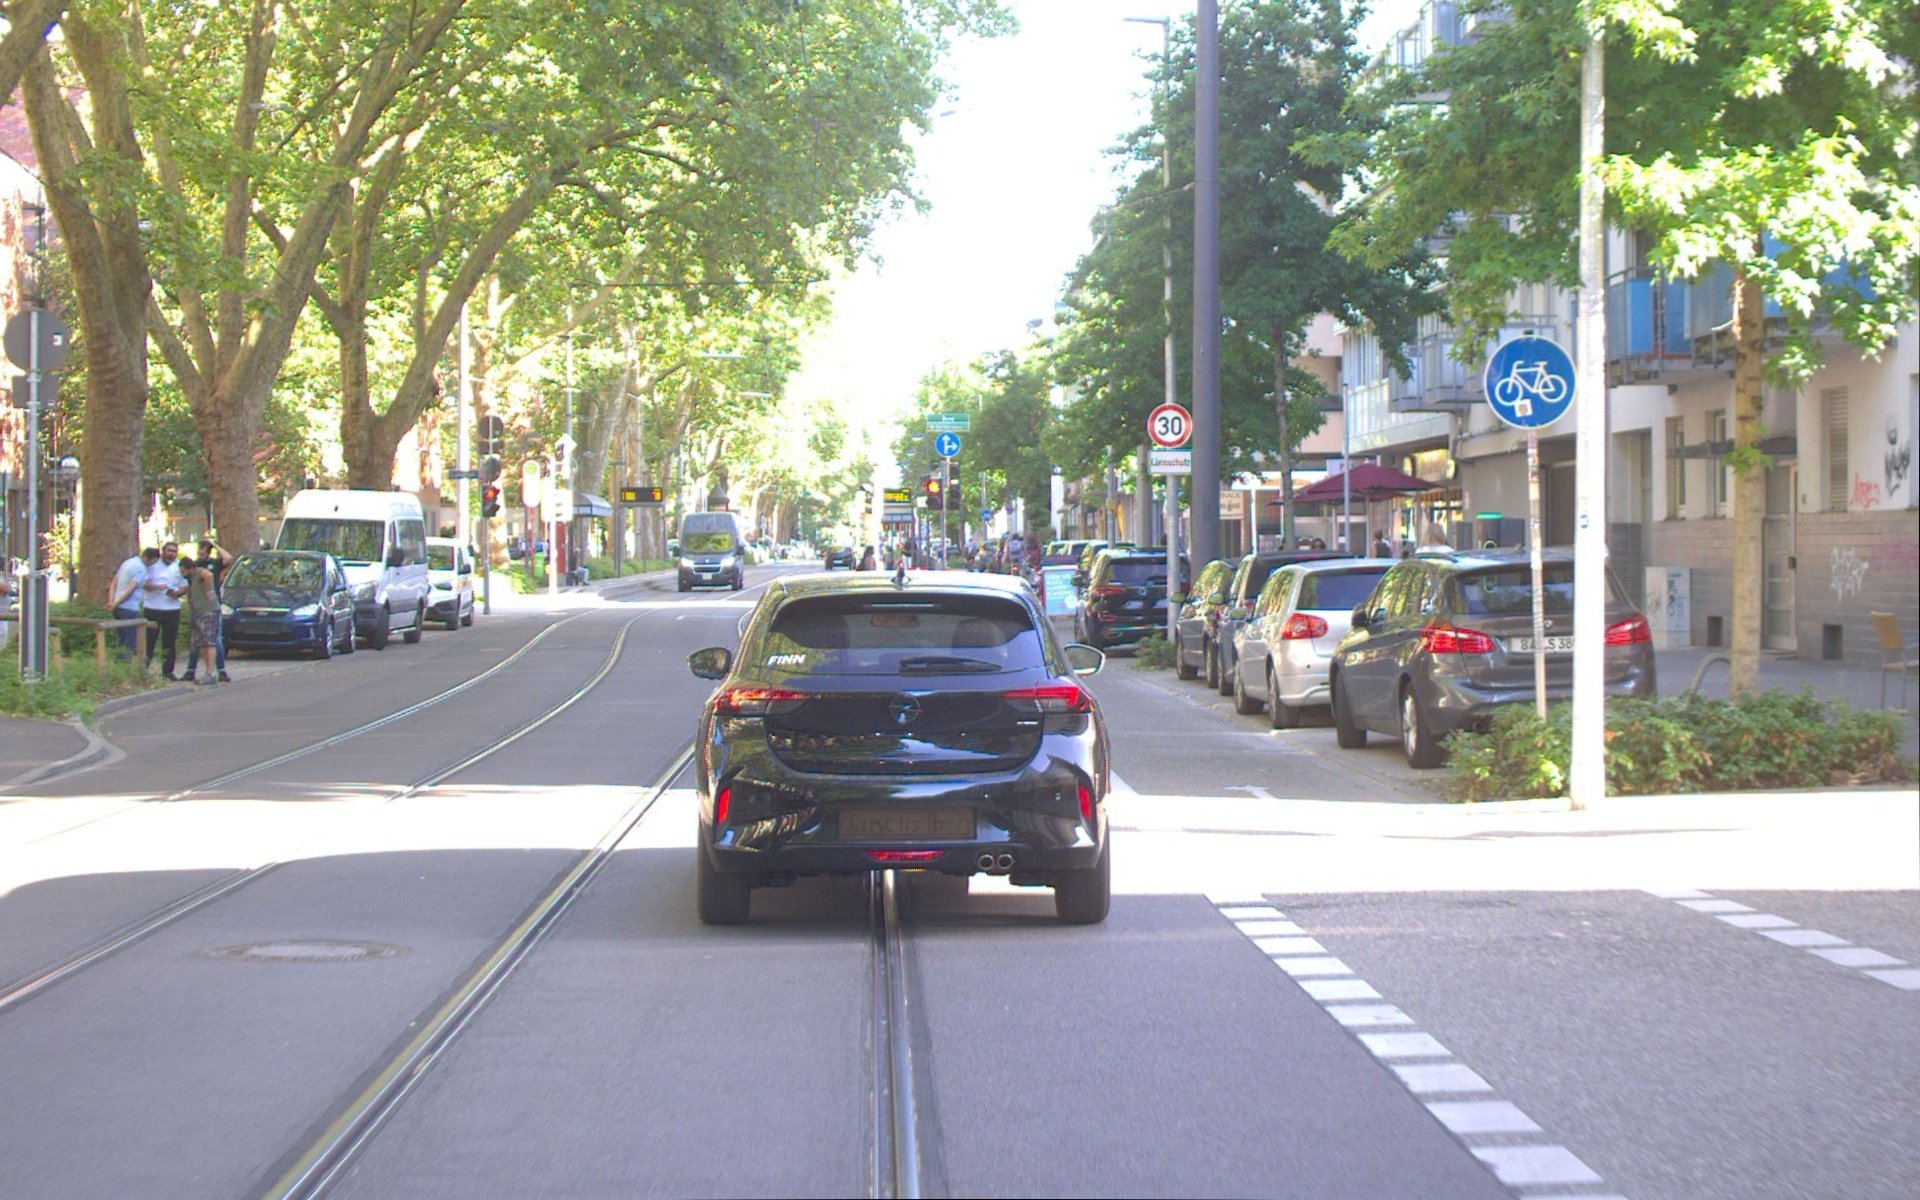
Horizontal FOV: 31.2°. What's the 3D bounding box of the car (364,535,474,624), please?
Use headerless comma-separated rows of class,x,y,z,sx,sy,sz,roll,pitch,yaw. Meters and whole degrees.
car,-10.715,-0.435,68.294,1.993,1.711,4.001,0,1,-7

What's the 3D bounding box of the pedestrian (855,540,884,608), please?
pedestrian,-2.154,-0.622,81.731,0.594,1.584,0.893,-1,1,-8

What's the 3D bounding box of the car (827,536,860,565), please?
car,-6.876,-2.936,203.258,1.750,1.646,4.000,0,1,0

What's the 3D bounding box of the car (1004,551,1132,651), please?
car,1.805,-0.017,58.560,1.993,1.634,4.000,0,1,-1

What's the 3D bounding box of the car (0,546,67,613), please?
car,-25.455,-0.534,89.624,3.986,1.700,2.001,0,1,-7

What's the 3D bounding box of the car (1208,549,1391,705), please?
car,3.556,0.253,36.407,1.651,1.568,3.083,0,1,0

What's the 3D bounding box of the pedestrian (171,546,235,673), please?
pedestrian,-9.450,0.117,42.936,0.683,1.577,0.557,0,1,-3

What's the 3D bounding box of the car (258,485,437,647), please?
car,-10.262,-0.603,58.062,2.092,2.575,5.997,0,1,-2

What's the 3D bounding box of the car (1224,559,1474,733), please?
car,3.526,0.379,31.741,1.718,1.485,3.682,0,1,-3

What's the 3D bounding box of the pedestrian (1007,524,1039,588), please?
pedestrian,2.041,-1.433,112.234,0.856,2.007,1.069,-5,0,-1

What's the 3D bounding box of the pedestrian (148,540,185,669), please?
pedestrian,-9.761,0.049,42.309,0.346,1.577,0.508,0,1,-3

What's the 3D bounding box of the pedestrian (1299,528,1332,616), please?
pedestrian,6.965,-0.550,67.359,0.629,1.727,0.632,0,1,4

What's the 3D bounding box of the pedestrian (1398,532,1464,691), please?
pedestrian,4.951,0.115,36.162,0.600,1.646,0.631,0,1,-1

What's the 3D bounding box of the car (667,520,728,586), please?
car,-9.077,-1.637,118.633,1.993,2.204,5.103,0,1,-5

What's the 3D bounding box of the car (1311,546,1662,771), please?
car,3.922,0.378,26.255,1.718,1.568,4.085,0,1,-5

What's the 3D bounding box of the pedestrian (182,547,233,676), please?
pedestrian,-9.237,0.133,42.207,0.506,1.577,0.527,0,1,-2

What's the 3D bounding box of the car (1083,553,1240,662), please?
car,2.923,0.080,50.544,1.993,1.503,4.000,0,1,-1

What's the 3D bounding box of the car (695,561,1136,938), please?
car,-0.228,0.563,15.179,1.679,1.417,3.628,1,1,-2

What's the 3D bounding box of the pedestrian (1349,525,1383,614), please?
pedestrian,7.932,-0.599,67.223,0.629,1.727,0.632,0,1,5

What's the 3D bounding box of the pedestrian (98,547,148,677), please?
pedestrian,-10.207,0.144,41.927,0.506,1.577,0.527,0,1,-5

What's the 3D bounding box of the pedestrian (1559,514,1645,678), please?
pedestrian,6.902,-0.046,37.014,0.793,1.742,0.770,0,1,1

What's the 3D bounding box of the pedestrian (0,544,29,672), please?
pedestrian,-11.820,0.096,42.466,0.506,1.577,0.527,0,1,-4

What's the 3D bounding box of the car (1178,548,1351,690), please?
car,3.519,0.182,40.223,1.718,1.568,3.682,0,1,0

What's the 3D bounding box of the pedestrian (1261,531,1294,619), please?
pedestrian,6.222,-0.492,67.447,0.629,1.727,0.632,0,1,4

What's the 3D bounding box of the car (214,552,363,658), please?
car,-10.083,0.042,51.859,1.754,1.503,4.001,0,1,-5
